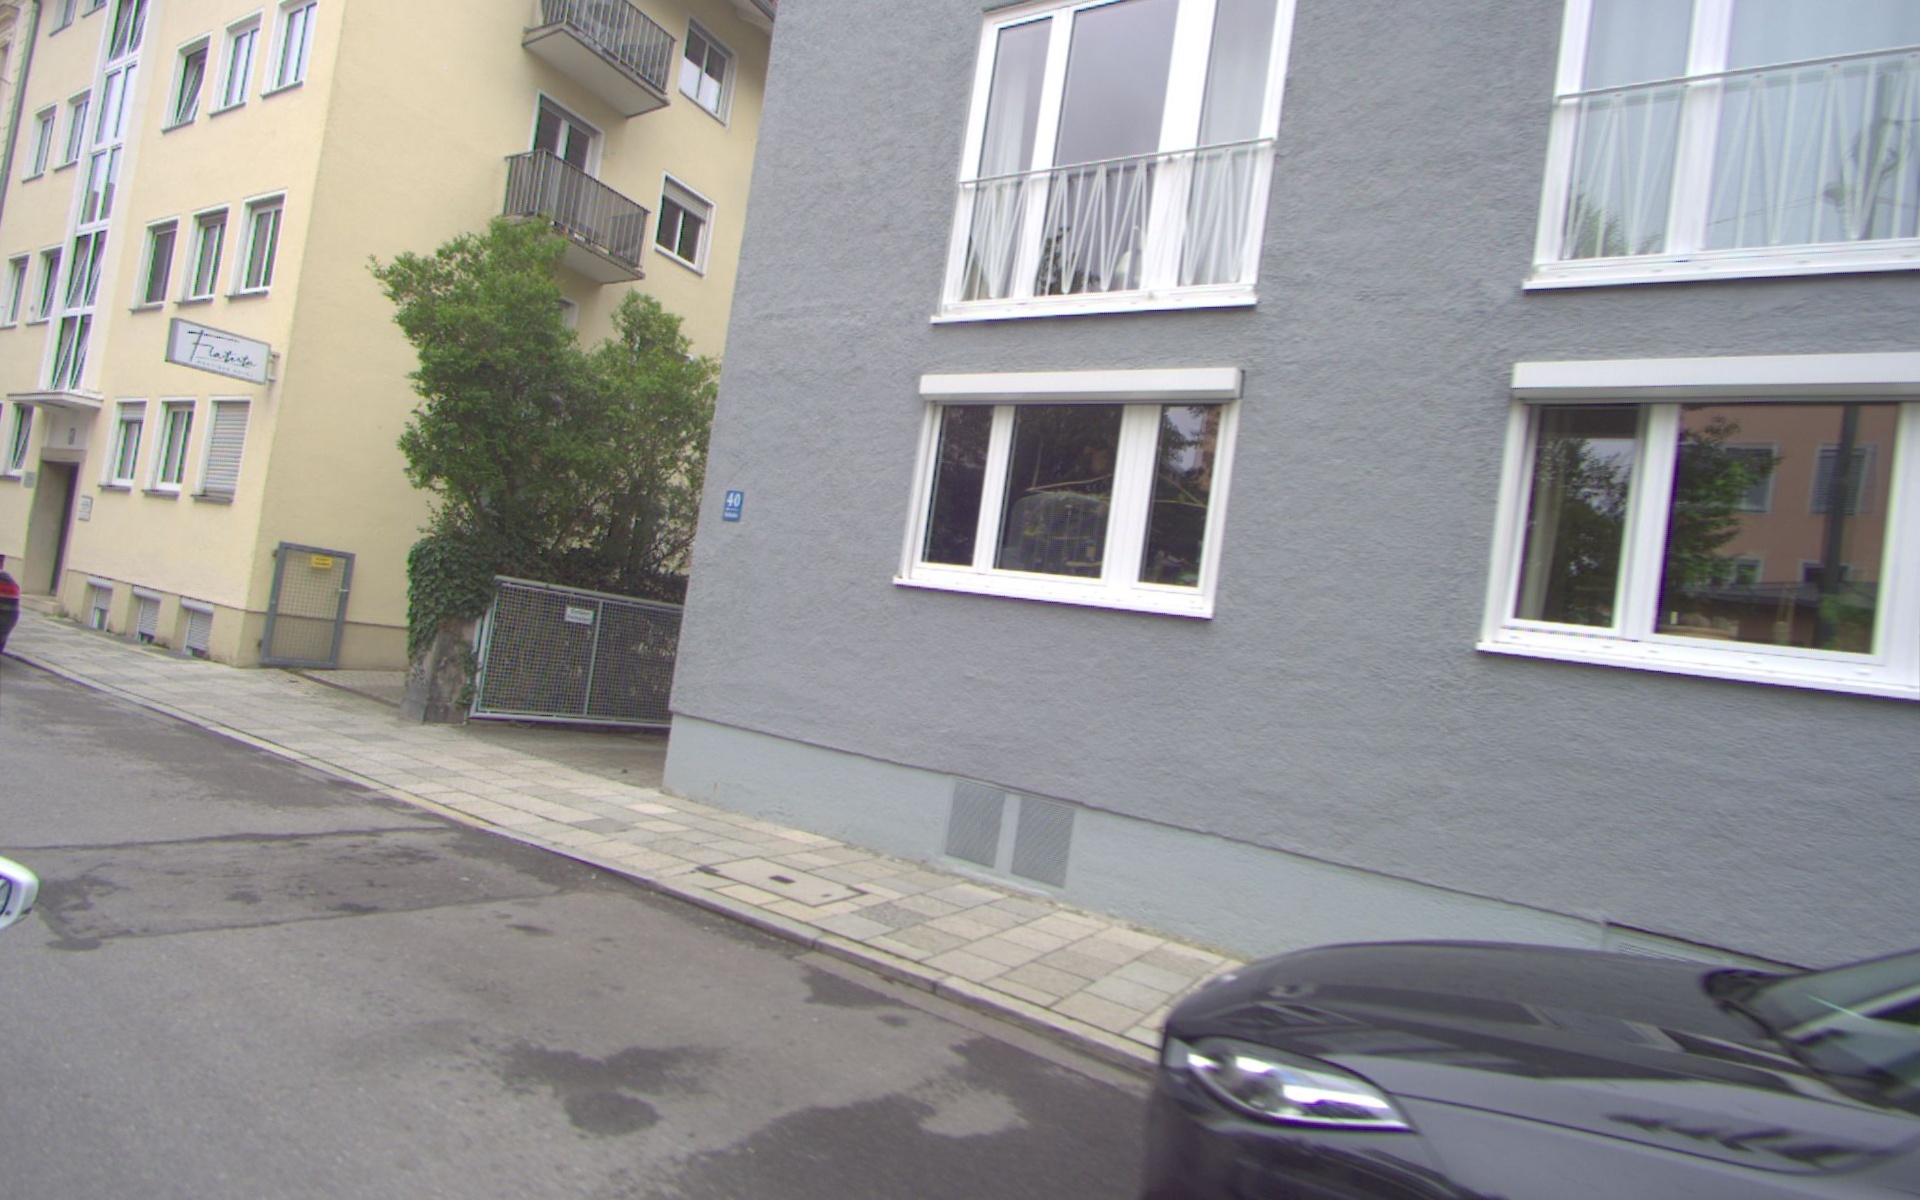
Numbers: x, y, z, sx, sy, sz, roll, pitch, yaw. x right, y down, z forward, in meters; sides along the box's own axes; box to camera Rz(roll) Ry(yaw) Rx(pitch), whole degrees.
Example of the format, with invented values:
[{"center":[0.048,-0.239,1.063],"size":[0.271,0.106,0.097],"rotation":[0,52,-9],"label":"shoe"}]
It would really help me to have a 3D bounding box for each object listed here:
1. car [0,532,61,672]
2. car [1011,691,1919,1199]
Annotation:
[{"center":[-11.790,-0.311,10.796],"size":[4.434,1.346,1.834],"rotation":[7,-7,32],"label":"car"},{"center":[2.379,1.278,1.719],"size":[4.192,1.441,1.850],"rotation":[7,-7,30],"label":"car"}]
